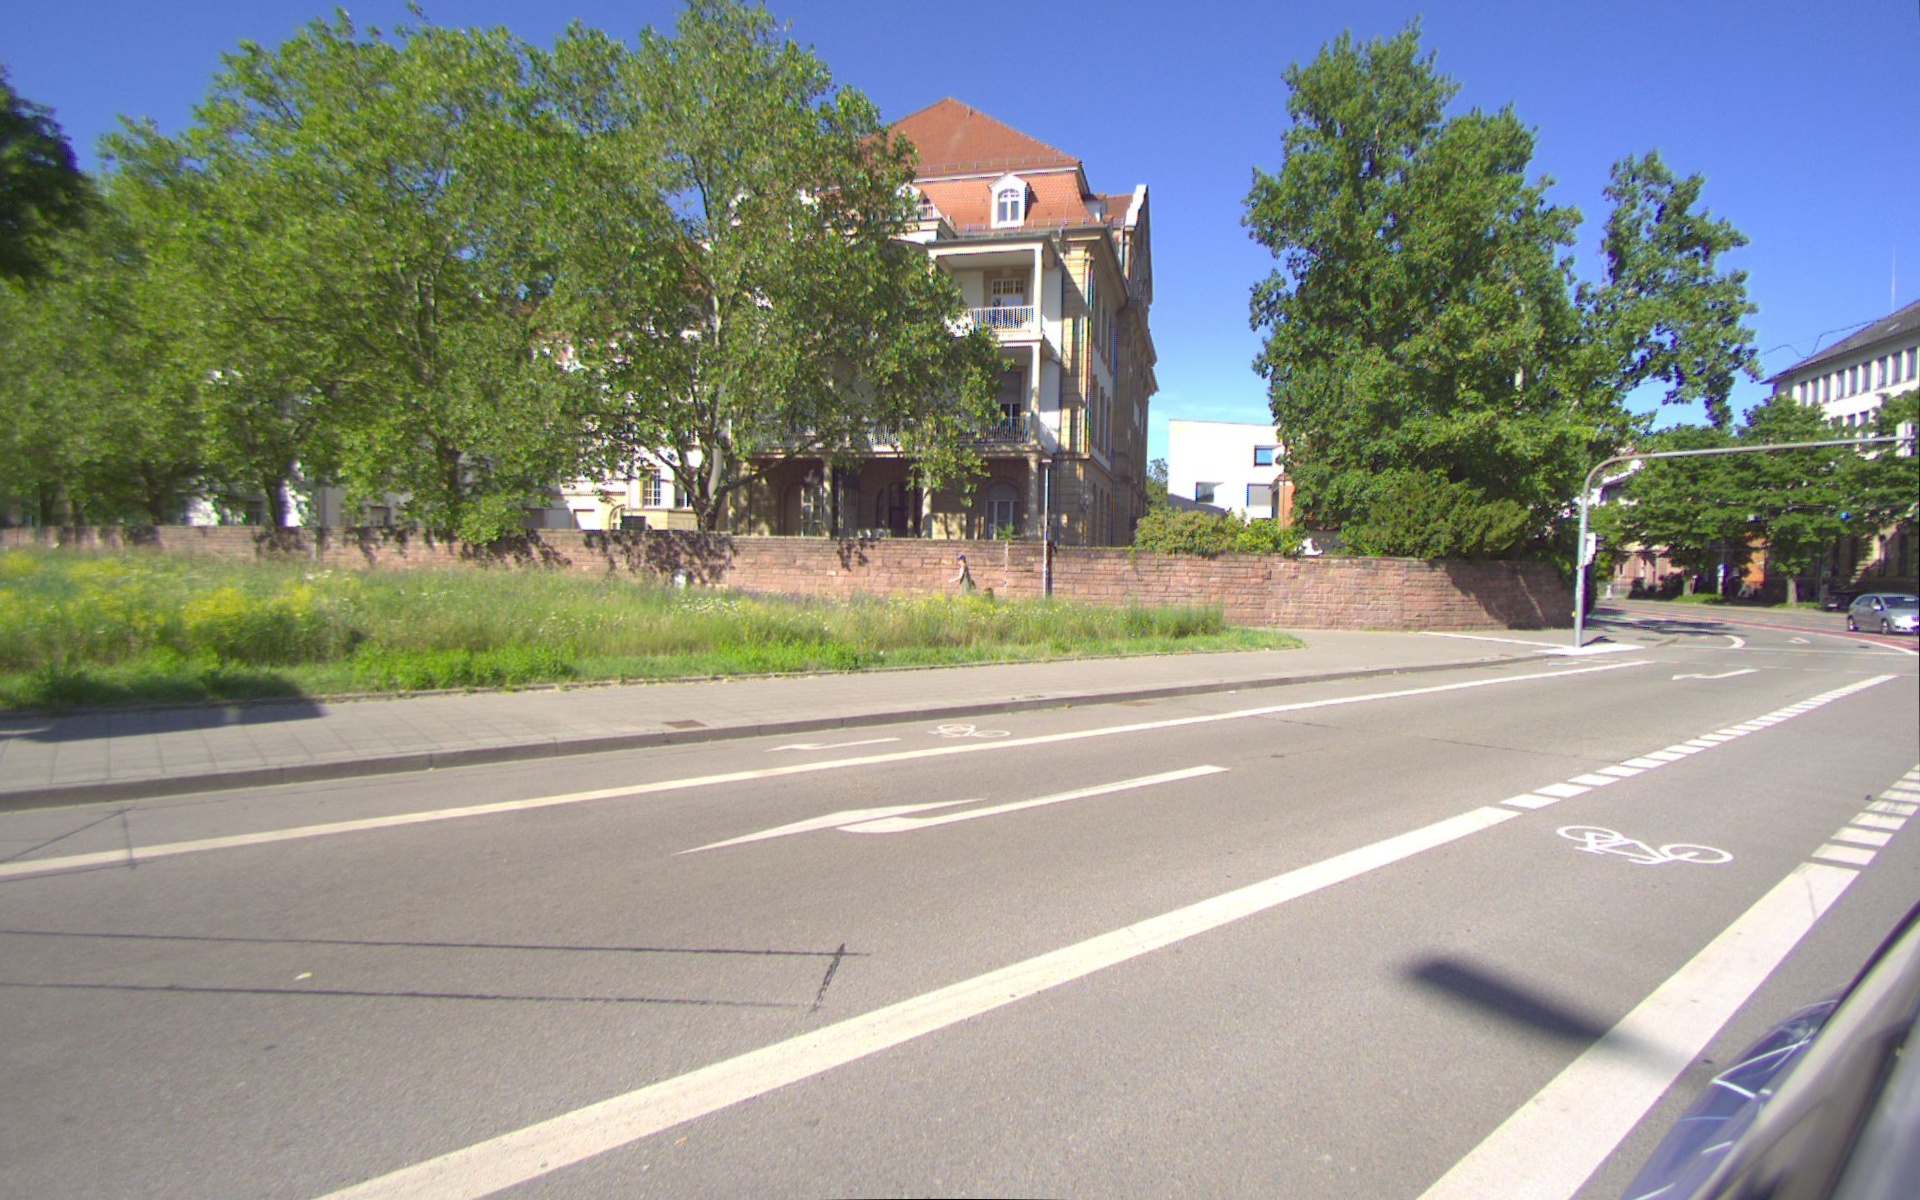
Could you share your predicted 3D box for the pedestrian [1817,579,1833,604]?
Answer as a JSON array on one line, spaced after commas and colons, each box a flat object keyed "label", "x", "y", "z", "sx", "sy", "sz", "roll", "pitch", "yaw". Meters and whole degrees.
[{"label": "pedestrian", "x": 66.889, "y": -0.667, "z": 78.244, "sx": 0.568, "sy": 1.927, "sz": 0.849, "roll": 1, "pitch": 1, "yaw": 12}]

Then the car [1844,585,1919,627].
[{"label": "car", "x": 37.706, "y": 0.202, "z": 40.327, "sx": 1.974, "sy": 1.610, "sz": 4.823, "roll": 0, "pitch": 0, "yaw": 18}]

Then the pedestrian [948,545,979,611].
[{"label": "pedestrian", "x": 0.113, "y": -0.641, "z": 29.144, "sx": 0.774, "sy": 1.881, "sz": 0.629, "roll": 1, "pitch": 1, "yaw": 9}]

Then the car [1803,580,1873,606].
[{"label": "car", "x": 60.061, "y": -0.527, "z": 69.283, "sx": 1.806, "sy": 1.615, "sz": 3.988, "roll": 2, "pitch": 2, "yaw": 11}]

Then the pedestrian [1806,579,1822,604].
[{"label": "pedestrian", "x": 66.097, "y": -0.656, "z": 78.322, "sx": 0.568, "sy": 1.927, "sz": 0.781, "roll": 1, "pitch": 1, "yaw": 12}]
